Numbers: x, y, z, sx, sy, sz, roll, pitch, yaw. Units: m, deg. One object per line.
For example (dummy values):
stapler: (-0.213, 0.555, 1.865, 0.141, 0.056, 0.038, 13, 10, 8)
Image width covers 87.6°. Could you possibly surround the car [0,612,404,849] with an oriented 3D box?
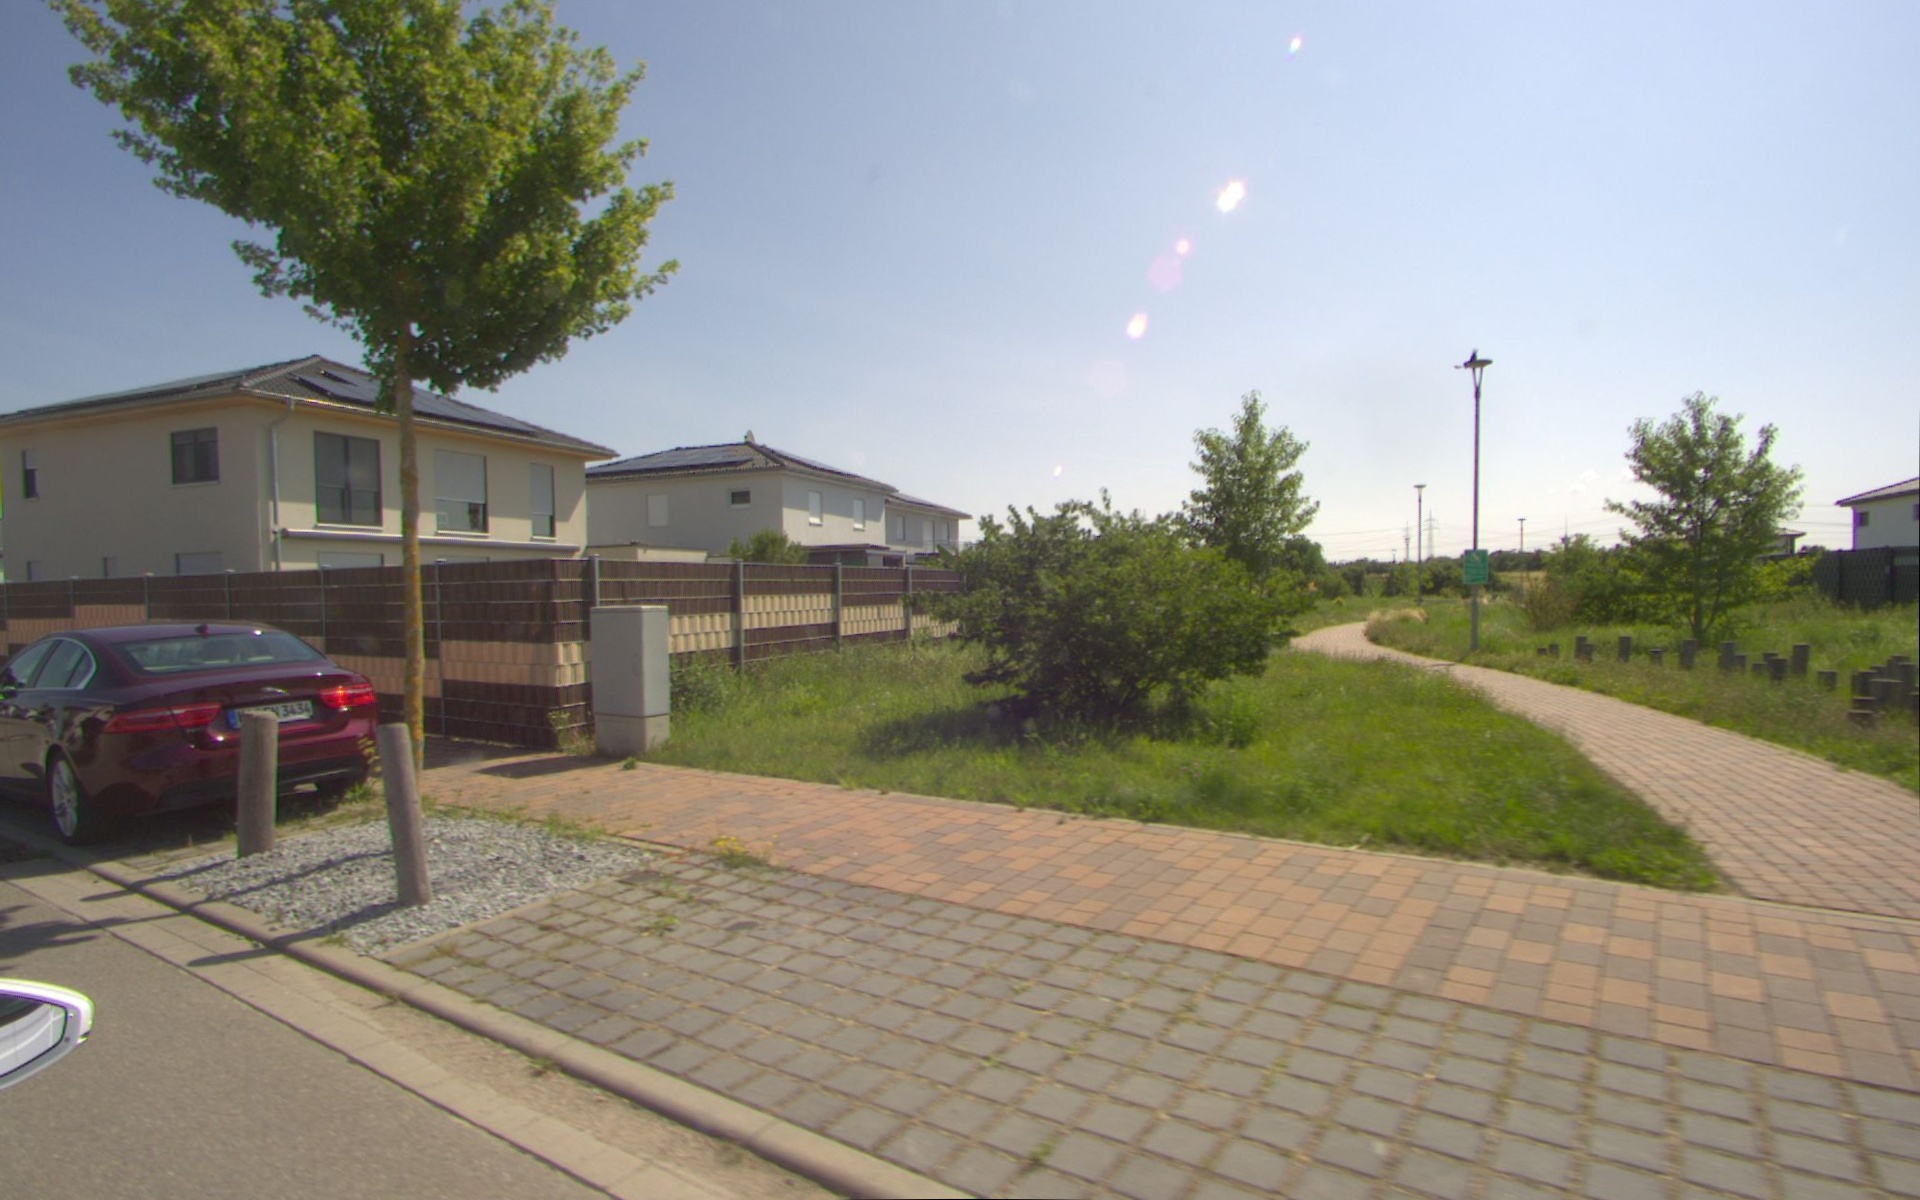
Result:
car: (-6.528, 0.809, 7.995, 4.511, 1.381, 1.750, 0, 1, 33)
